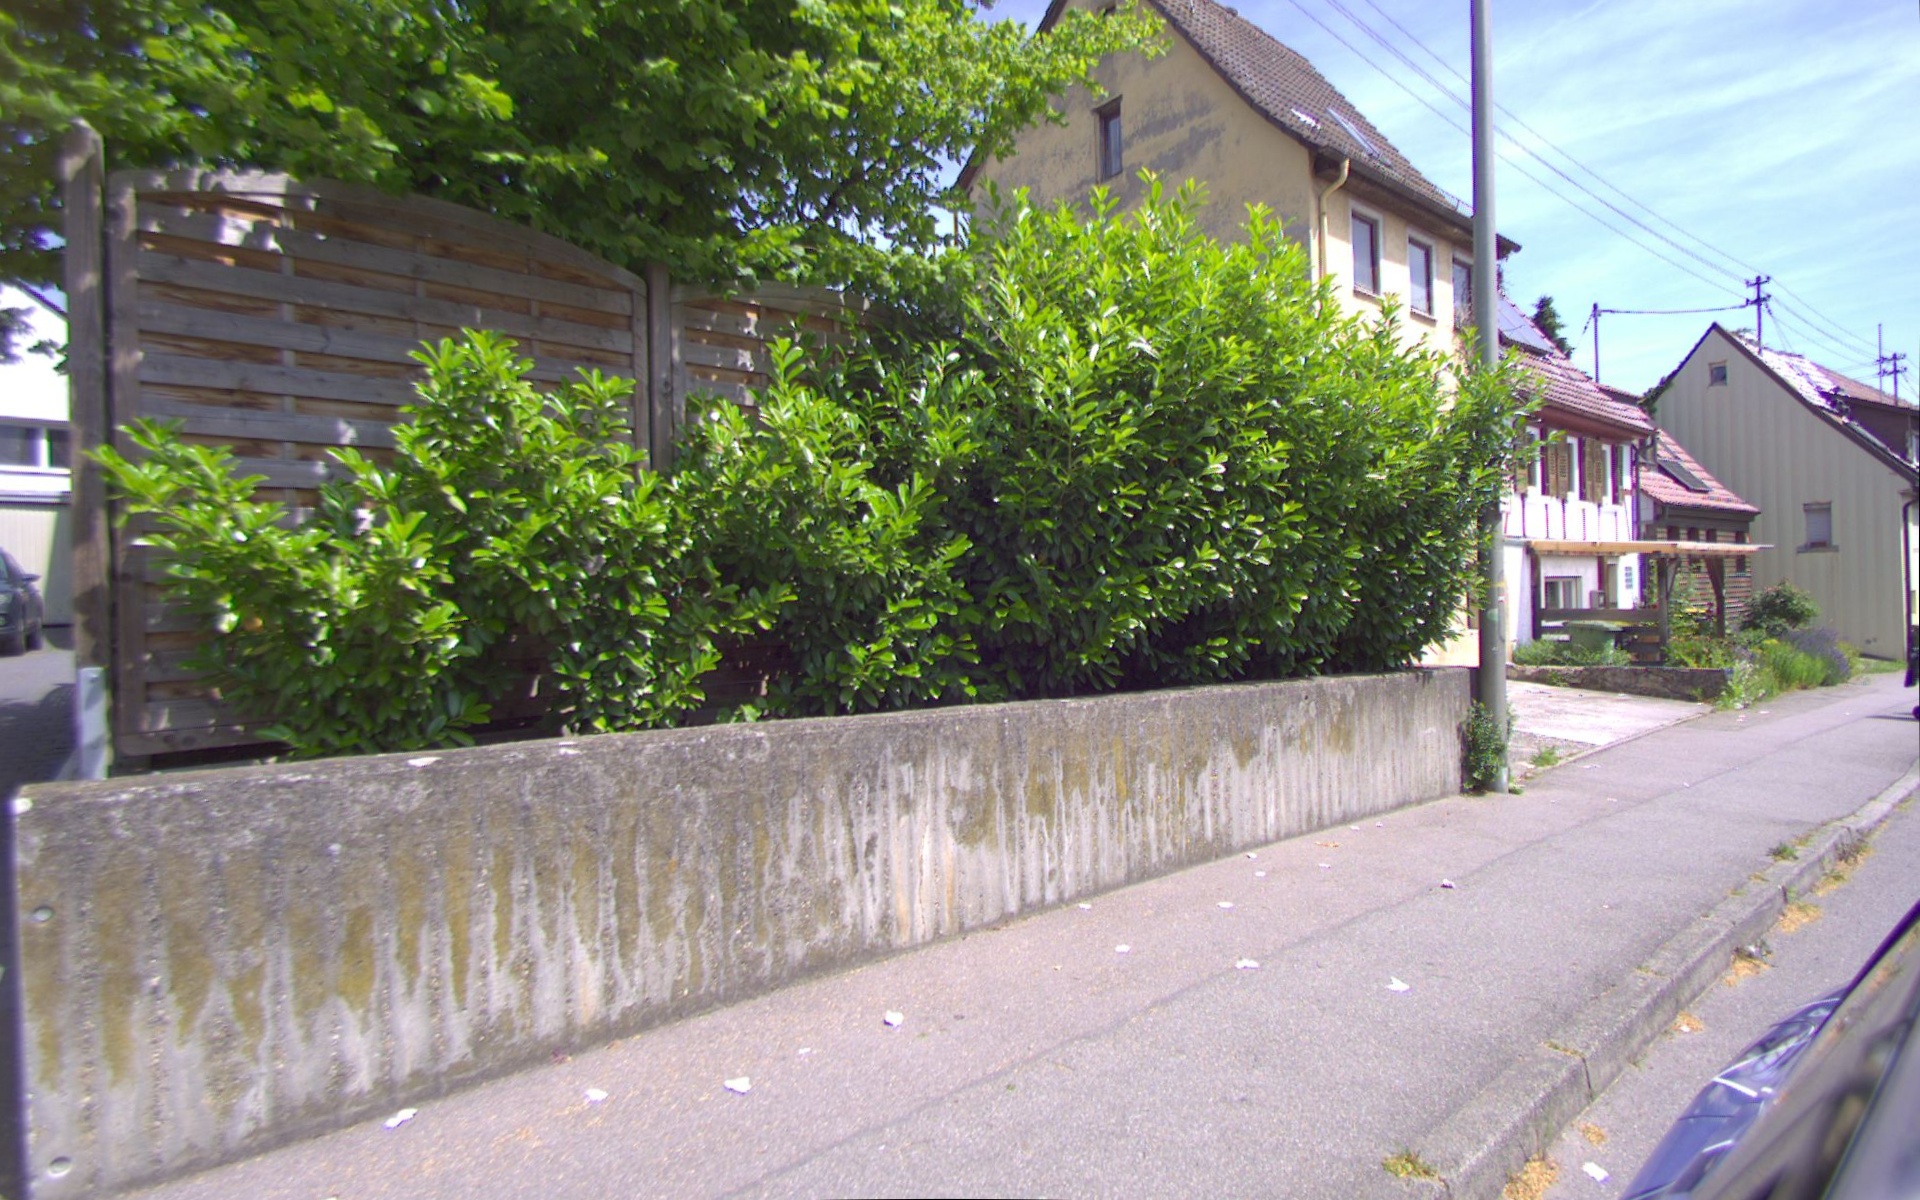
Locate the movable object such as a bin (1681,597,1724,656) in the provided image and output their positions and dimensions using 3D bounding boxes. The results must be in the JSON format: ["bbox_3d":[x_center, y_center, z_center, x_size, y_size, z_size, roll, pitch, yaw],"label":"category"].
[{"bbox_3d":[15.803,0.556,21.542,0.540,1.171,0.536,0,6,-42],"label":"movable object such as a bin"}]

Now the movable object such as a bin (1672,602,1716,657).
[{"bbox_3d":[15.322,0.603,21.130,0.540,1.069,0.536,0,6,-42],"label":"movable object such as a bin"}]
